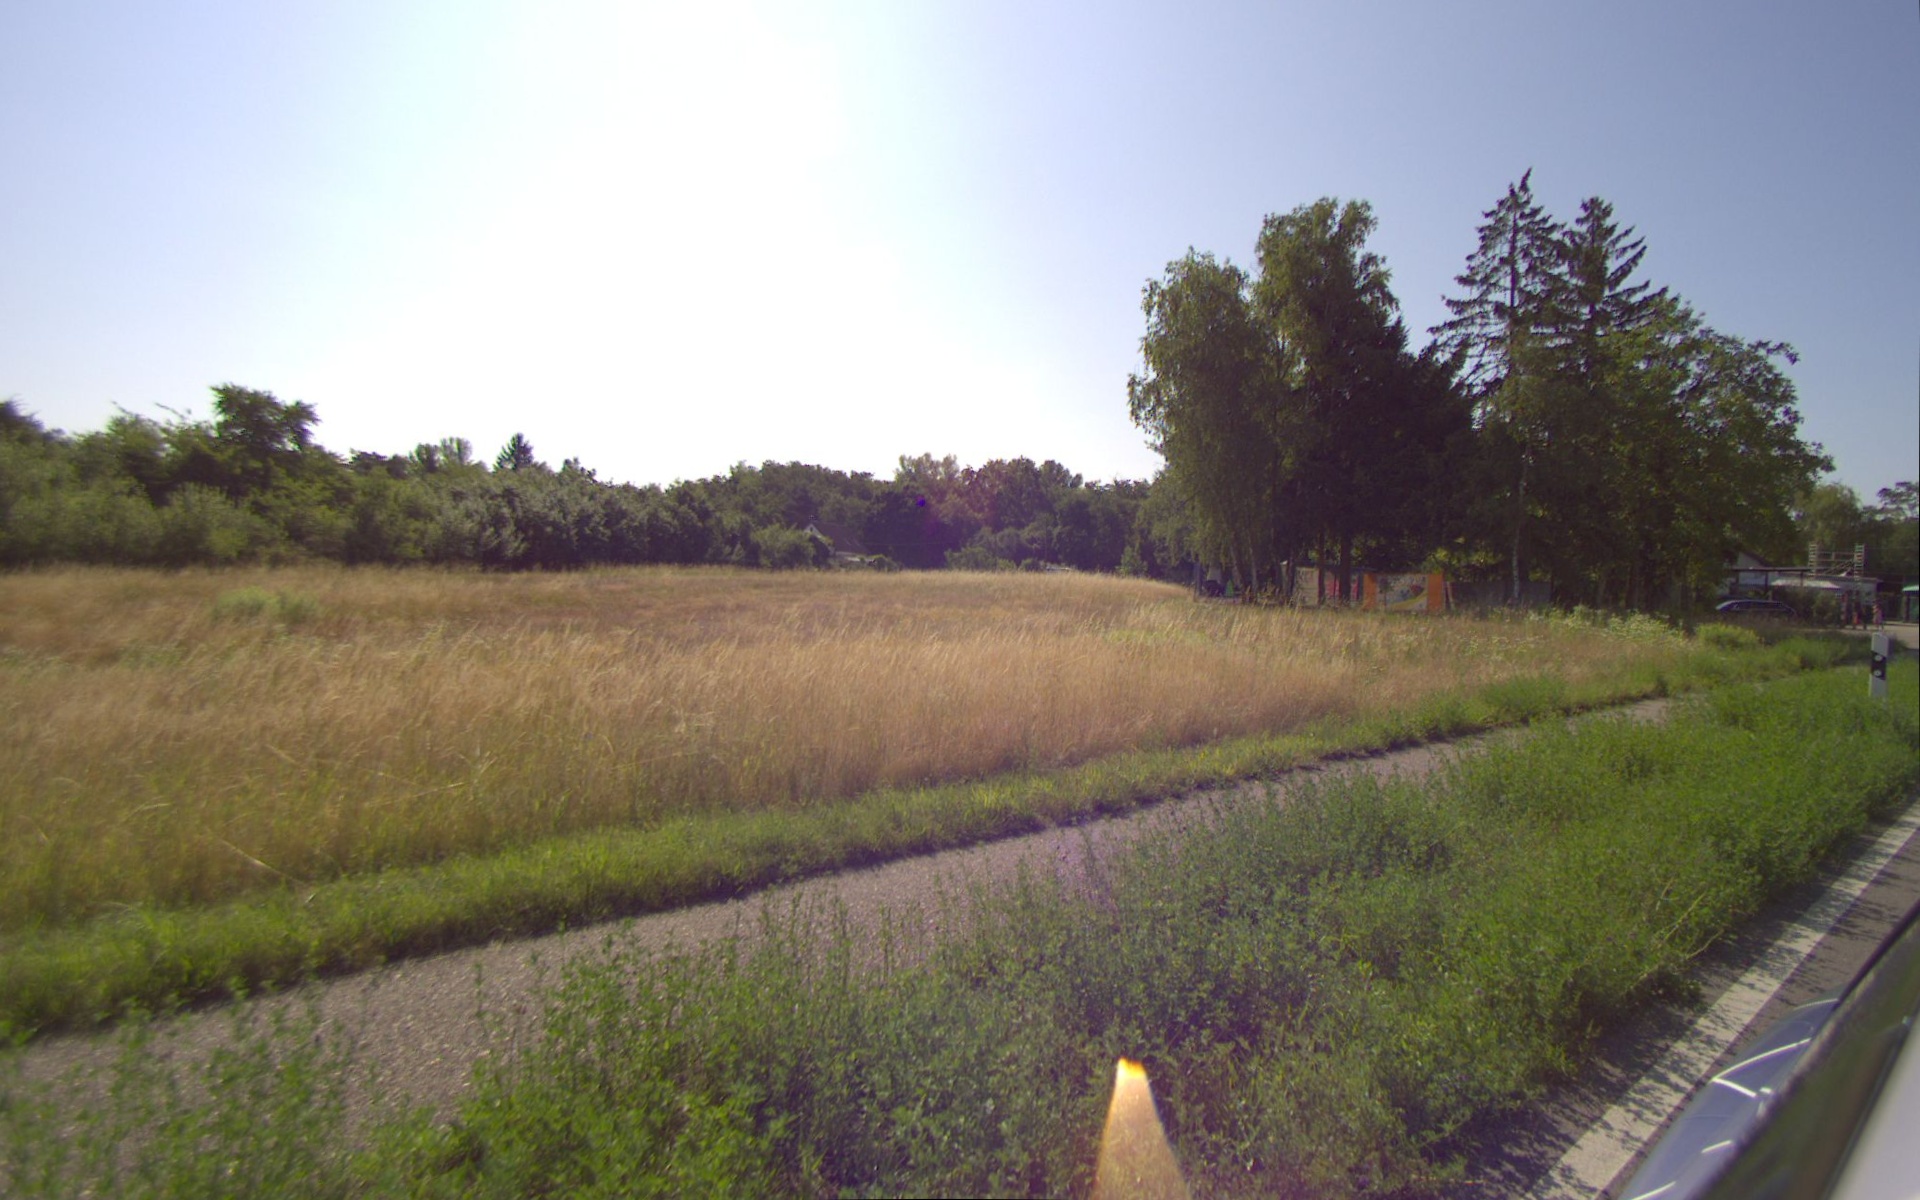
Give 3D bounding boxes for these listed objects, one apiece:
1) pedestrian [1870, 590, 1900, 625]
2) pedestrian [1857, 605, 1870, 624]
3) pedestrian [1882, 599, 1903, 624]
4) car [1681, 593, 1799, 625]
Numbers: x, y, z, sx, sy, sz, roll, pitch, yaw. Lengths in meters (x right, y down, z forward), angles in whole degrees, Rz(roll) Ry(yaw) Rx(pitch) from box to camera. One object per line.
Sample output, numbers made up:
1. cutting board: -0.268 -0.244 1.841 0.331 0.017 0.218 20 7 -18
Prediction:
1. pedestrian: 49.998 0.382 54.700 1.095 1.808 0.923 3 2 40
2. pedestrian: 49.132 0.776 55.049 0.468 0.996 0.334 2 2 40
3. pedestrian: 50.778 0.626 55.114 0.721 1.354 0.814 2 2 39
4. car: 39.608 0.440 51.510 4.411 1.448 1.703 2 1 21
